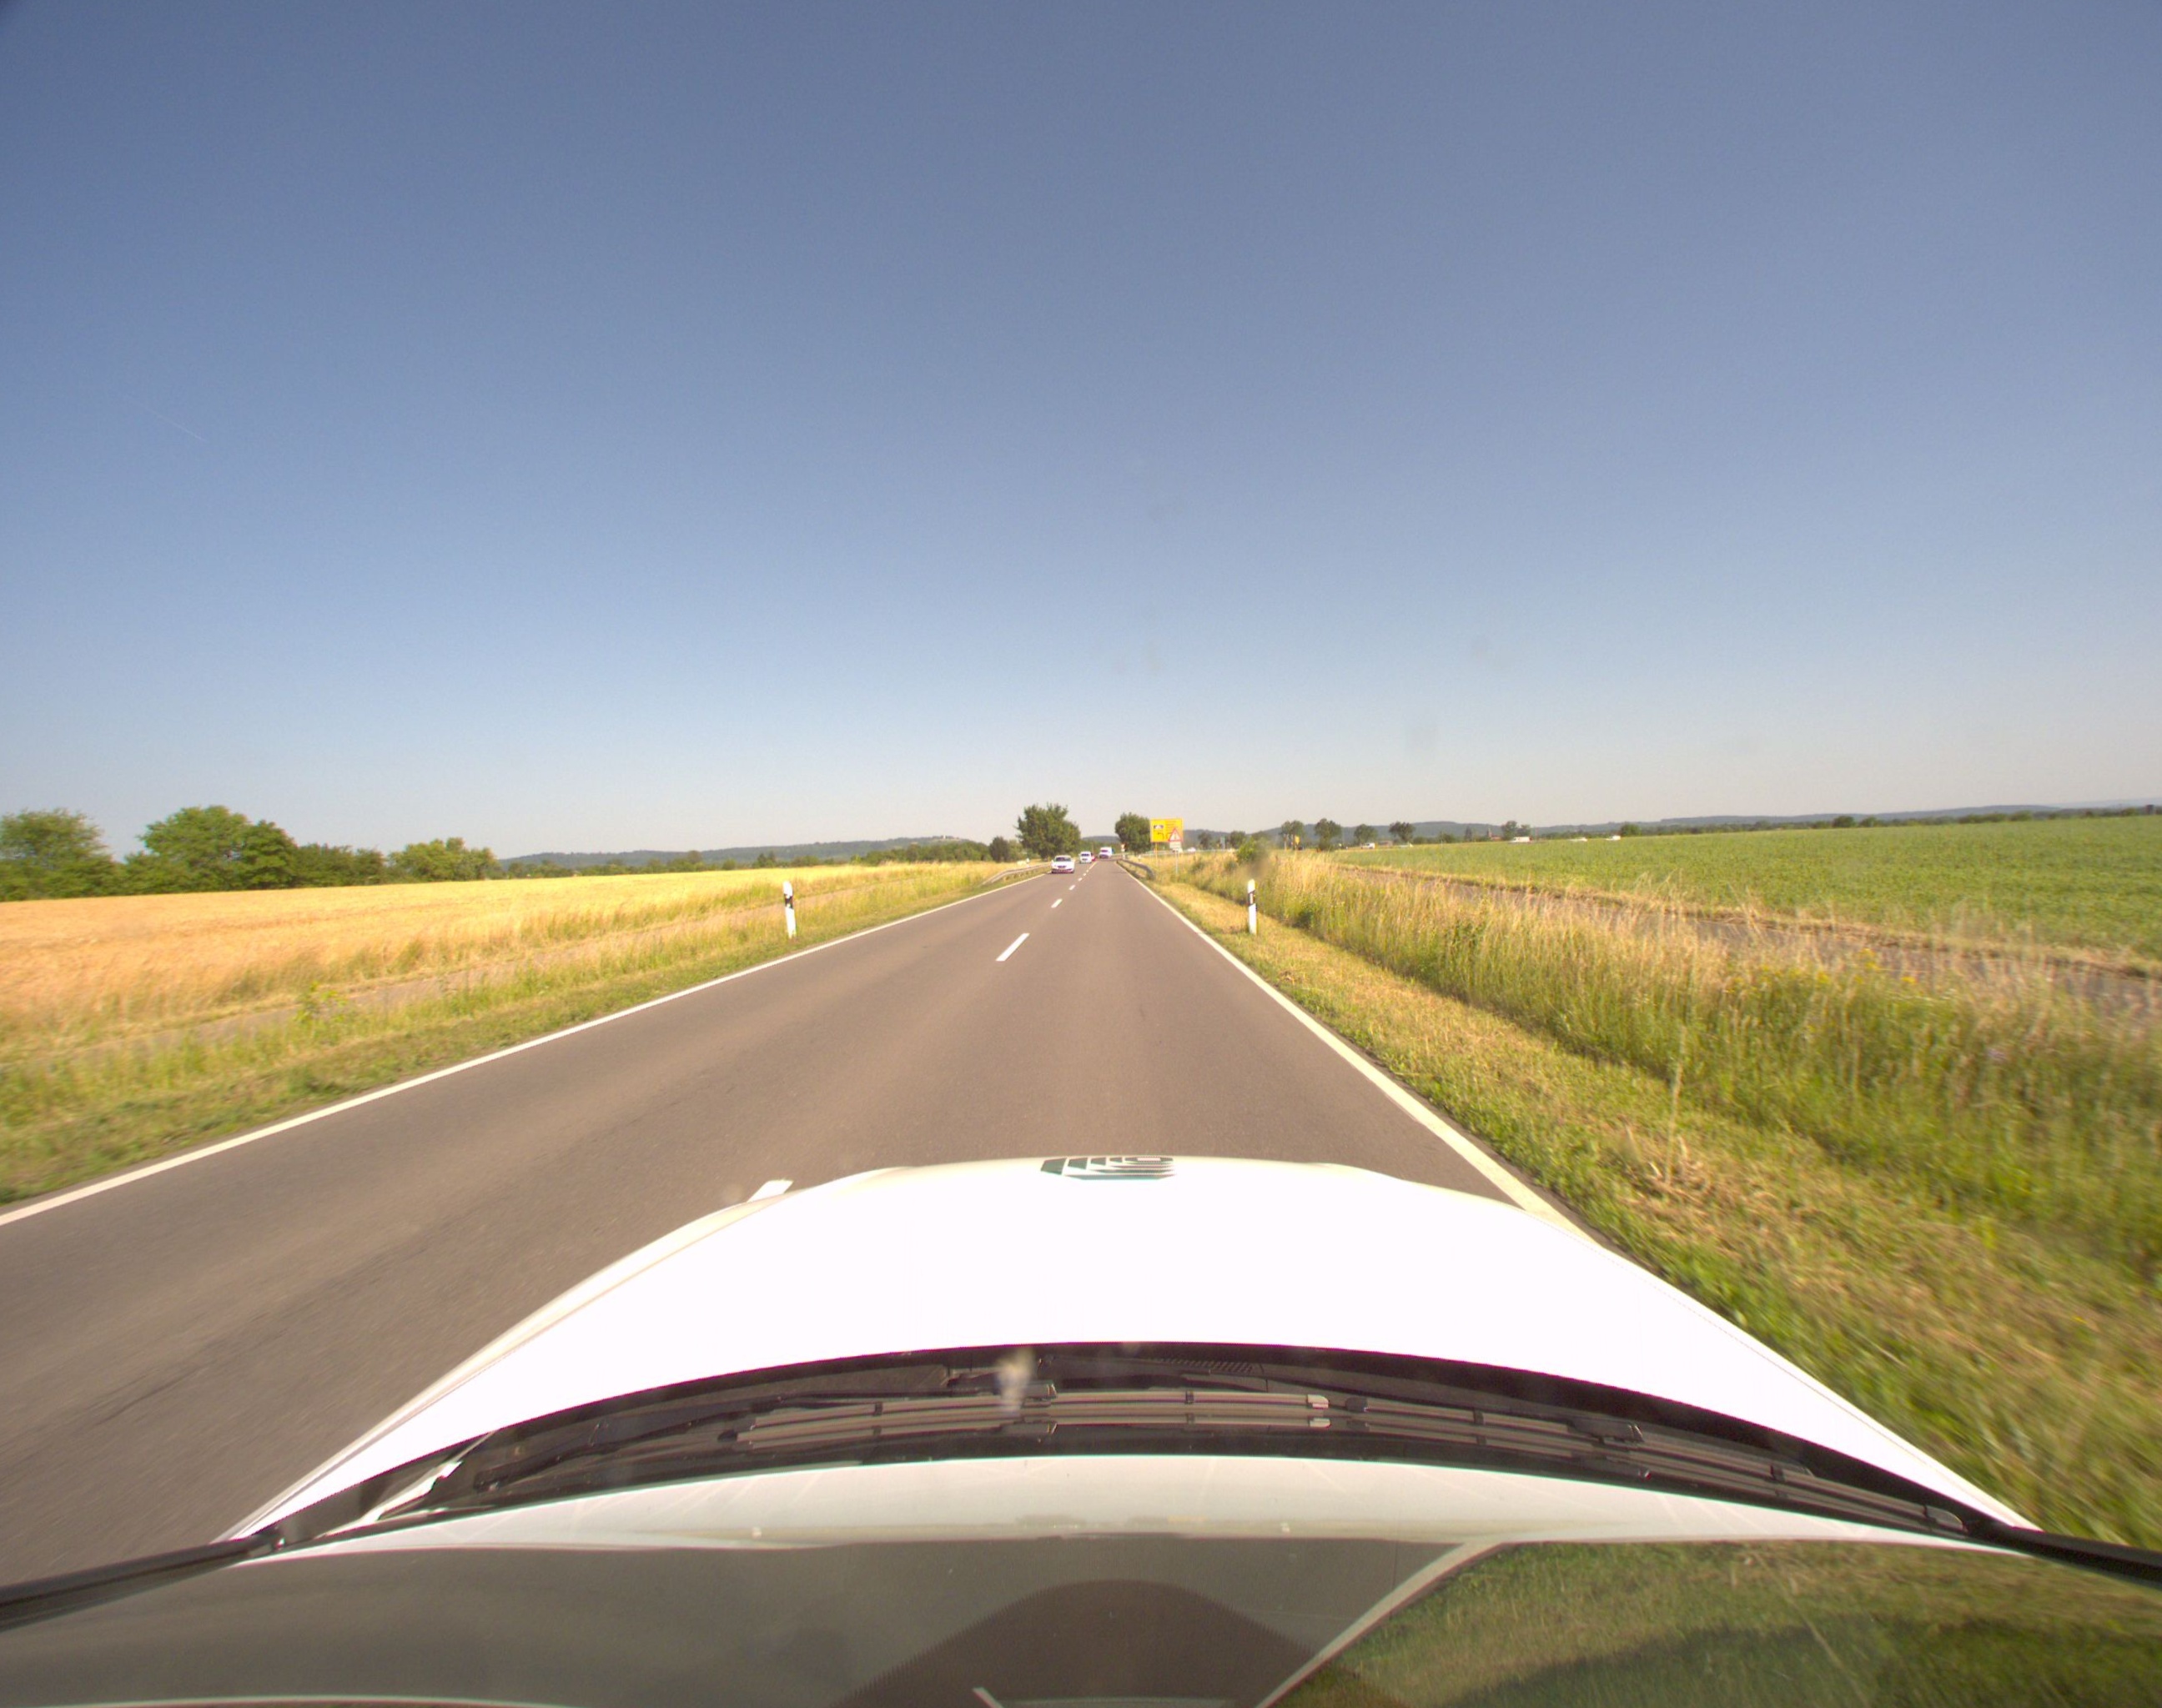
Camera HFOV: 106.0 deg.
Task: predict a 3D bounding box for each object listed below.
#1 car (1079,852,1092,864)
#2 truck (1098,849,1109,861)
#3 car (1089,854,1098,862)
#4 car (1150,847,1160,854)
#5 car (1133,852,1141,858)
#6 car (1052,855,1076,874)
[{"bbox_3d":[0.680,0.644,128.951,1.829,1.787,4.437,-2,0,2],"label":"car"},{"bbox_3d":[5.057,0.238,182.401,1.983,2.520,6.254,-1,0,6],"label":"truck"},{"bbox_3d":[2.403,0.775,151.675,1.601,1.488,3.781,-1,0,2],"label":"car"},{"bbox_3d":[22.170,-1.089,244.444,1.978,1.884,4.612,0,0,18],"label":"car"},{"bbox_3d":[15.167,0.252,220.218,1.632,1.471,3.821,-1,0,14],"label":"car"},{"bbox_3d":[-1.373,0.848,66.896,1.720,1.437,4.517,-1,0,1],"label":"car"}]
